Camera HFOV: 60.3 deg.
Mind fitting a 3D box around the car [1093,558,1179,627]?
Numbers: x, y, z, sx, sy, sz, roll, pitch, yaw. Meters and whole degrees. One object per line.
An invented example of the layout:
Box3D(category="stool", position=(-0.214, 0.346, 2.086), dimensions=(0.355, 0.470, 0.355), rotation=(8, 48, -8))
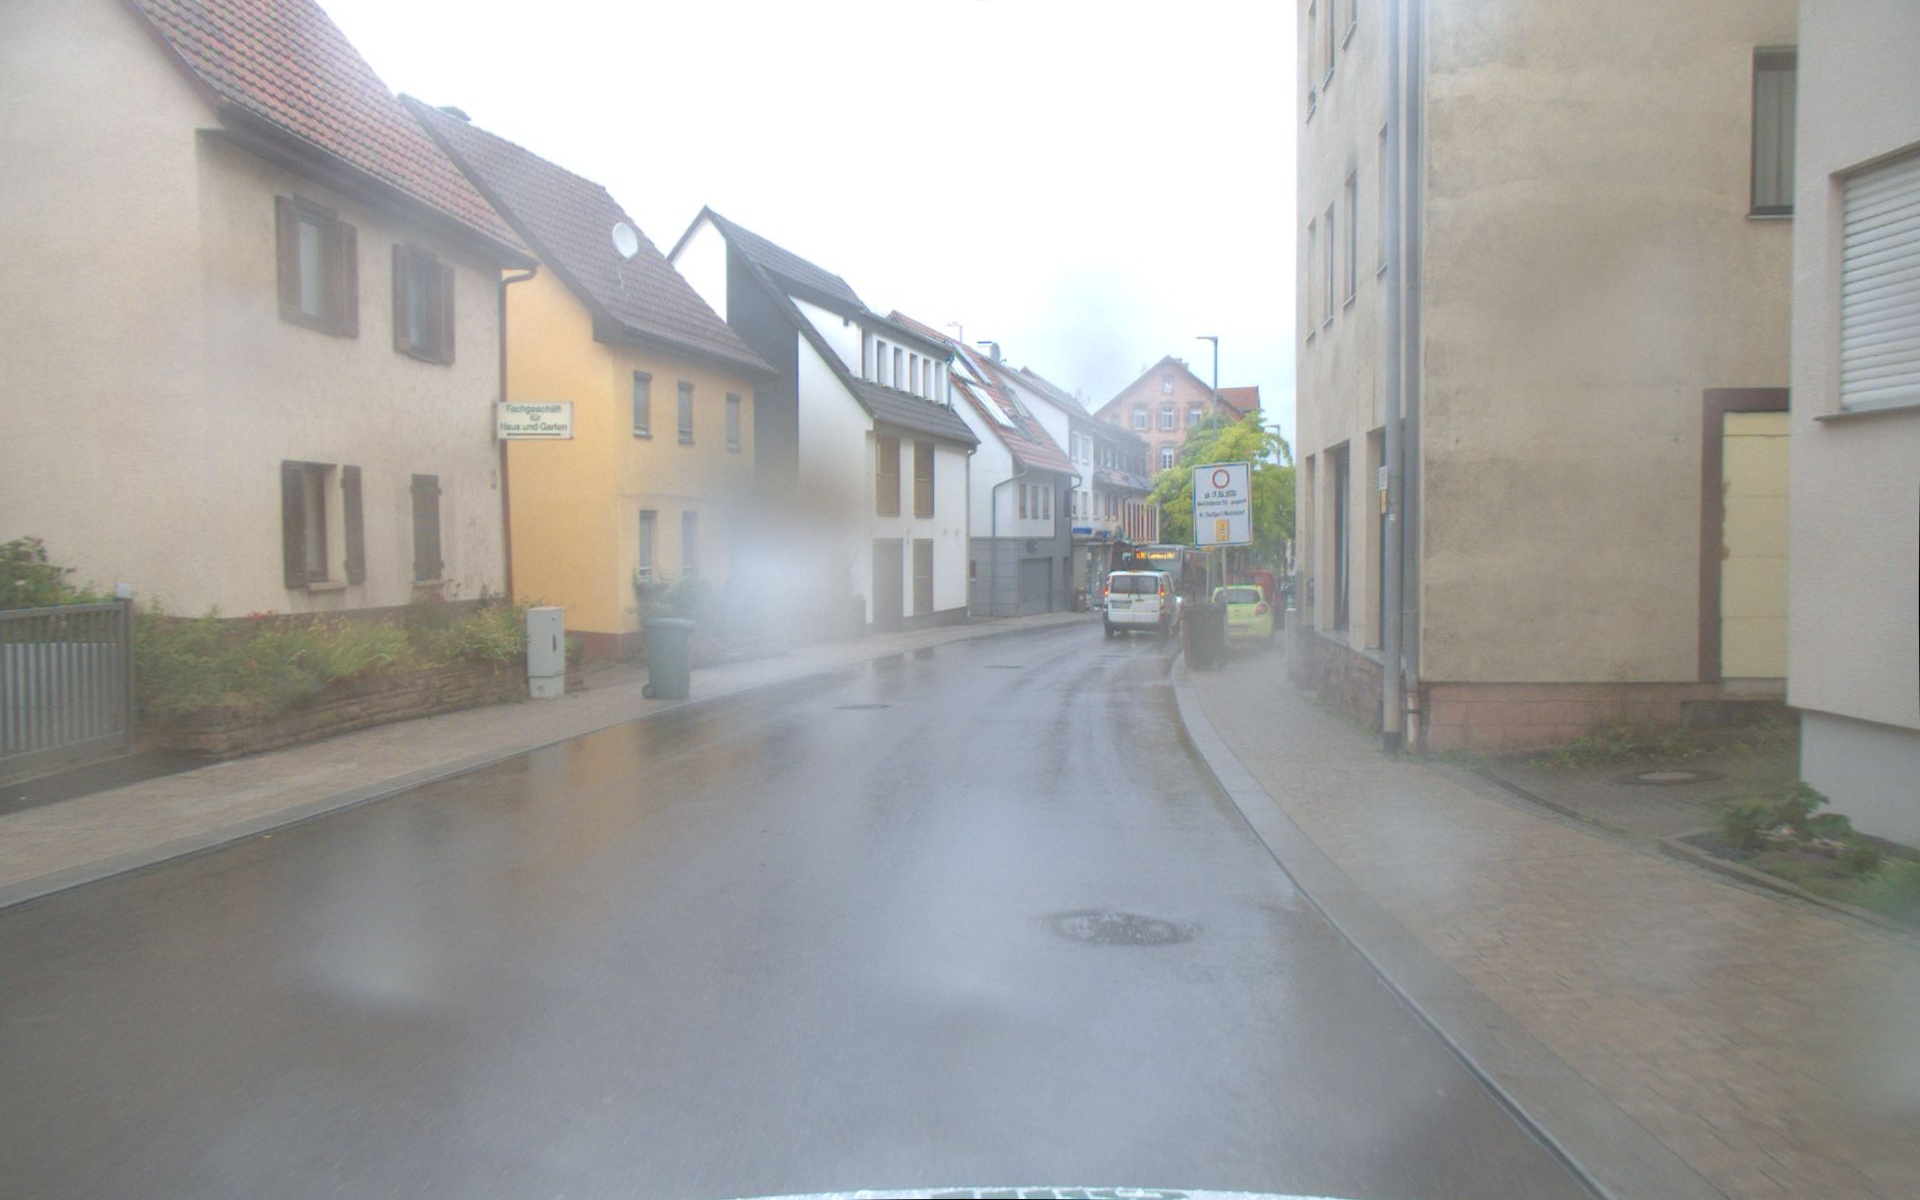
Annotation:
Box3D(category="car", position=(5.210, -0.221, 48.439), dimensions=(2.148, 1.884, 4.308), rotation=(-1, 0, 11))

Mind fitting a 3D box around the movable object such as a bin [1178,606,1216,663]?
Box3D(category="movable object such as a bin", position=(4.497, 0.651, 31.381), dimensions=(0.691, 1.064, 0.518), rotation=(0, 0, 12))

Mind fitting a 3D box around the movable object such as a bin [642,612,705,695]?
Box3D(category="movable object such as a bin", position=(-3.910, 0.722, 22.621), dimensions=(0.646, 1.074, 0.764), rotation=(2, 1, 5))

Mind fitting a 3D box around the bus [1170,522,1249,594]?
Box3D(category="bus", position=(11.900, -1.885, 78.261), dimensions=(2.682, 3.185, 9.240), rotation=(0, 0, 15))

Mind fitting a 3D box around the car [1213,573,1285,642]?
Box3D(category="car", position=(6.900, 0.147, 39.298), dimensions=(1.569, 1.510, 3.304), rotation=(-2, 0, 11))

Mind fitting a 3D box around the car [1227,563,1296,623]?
Box3D(category="car", position=(9.437, -0.220, 51.554), dimensions=(1.675, 1.793, 4.002), rotation=(0, 0, 17))

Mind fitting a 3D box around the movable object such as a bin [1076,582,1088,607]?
Box3D(category="movable object such as a bin", position=(5.520, -0.255, 74.750), dimensions=(0.507, 1.142, 0.636), rotation=(0, 0, 6))

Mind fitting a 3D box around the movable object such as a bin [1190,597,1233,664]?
Box3D(category="movable object such as a bin", position=(4.601, 0.535, 30.256), dimensions=(0.750, 1.193, 1.542), rotation=(0, 0, 9))
